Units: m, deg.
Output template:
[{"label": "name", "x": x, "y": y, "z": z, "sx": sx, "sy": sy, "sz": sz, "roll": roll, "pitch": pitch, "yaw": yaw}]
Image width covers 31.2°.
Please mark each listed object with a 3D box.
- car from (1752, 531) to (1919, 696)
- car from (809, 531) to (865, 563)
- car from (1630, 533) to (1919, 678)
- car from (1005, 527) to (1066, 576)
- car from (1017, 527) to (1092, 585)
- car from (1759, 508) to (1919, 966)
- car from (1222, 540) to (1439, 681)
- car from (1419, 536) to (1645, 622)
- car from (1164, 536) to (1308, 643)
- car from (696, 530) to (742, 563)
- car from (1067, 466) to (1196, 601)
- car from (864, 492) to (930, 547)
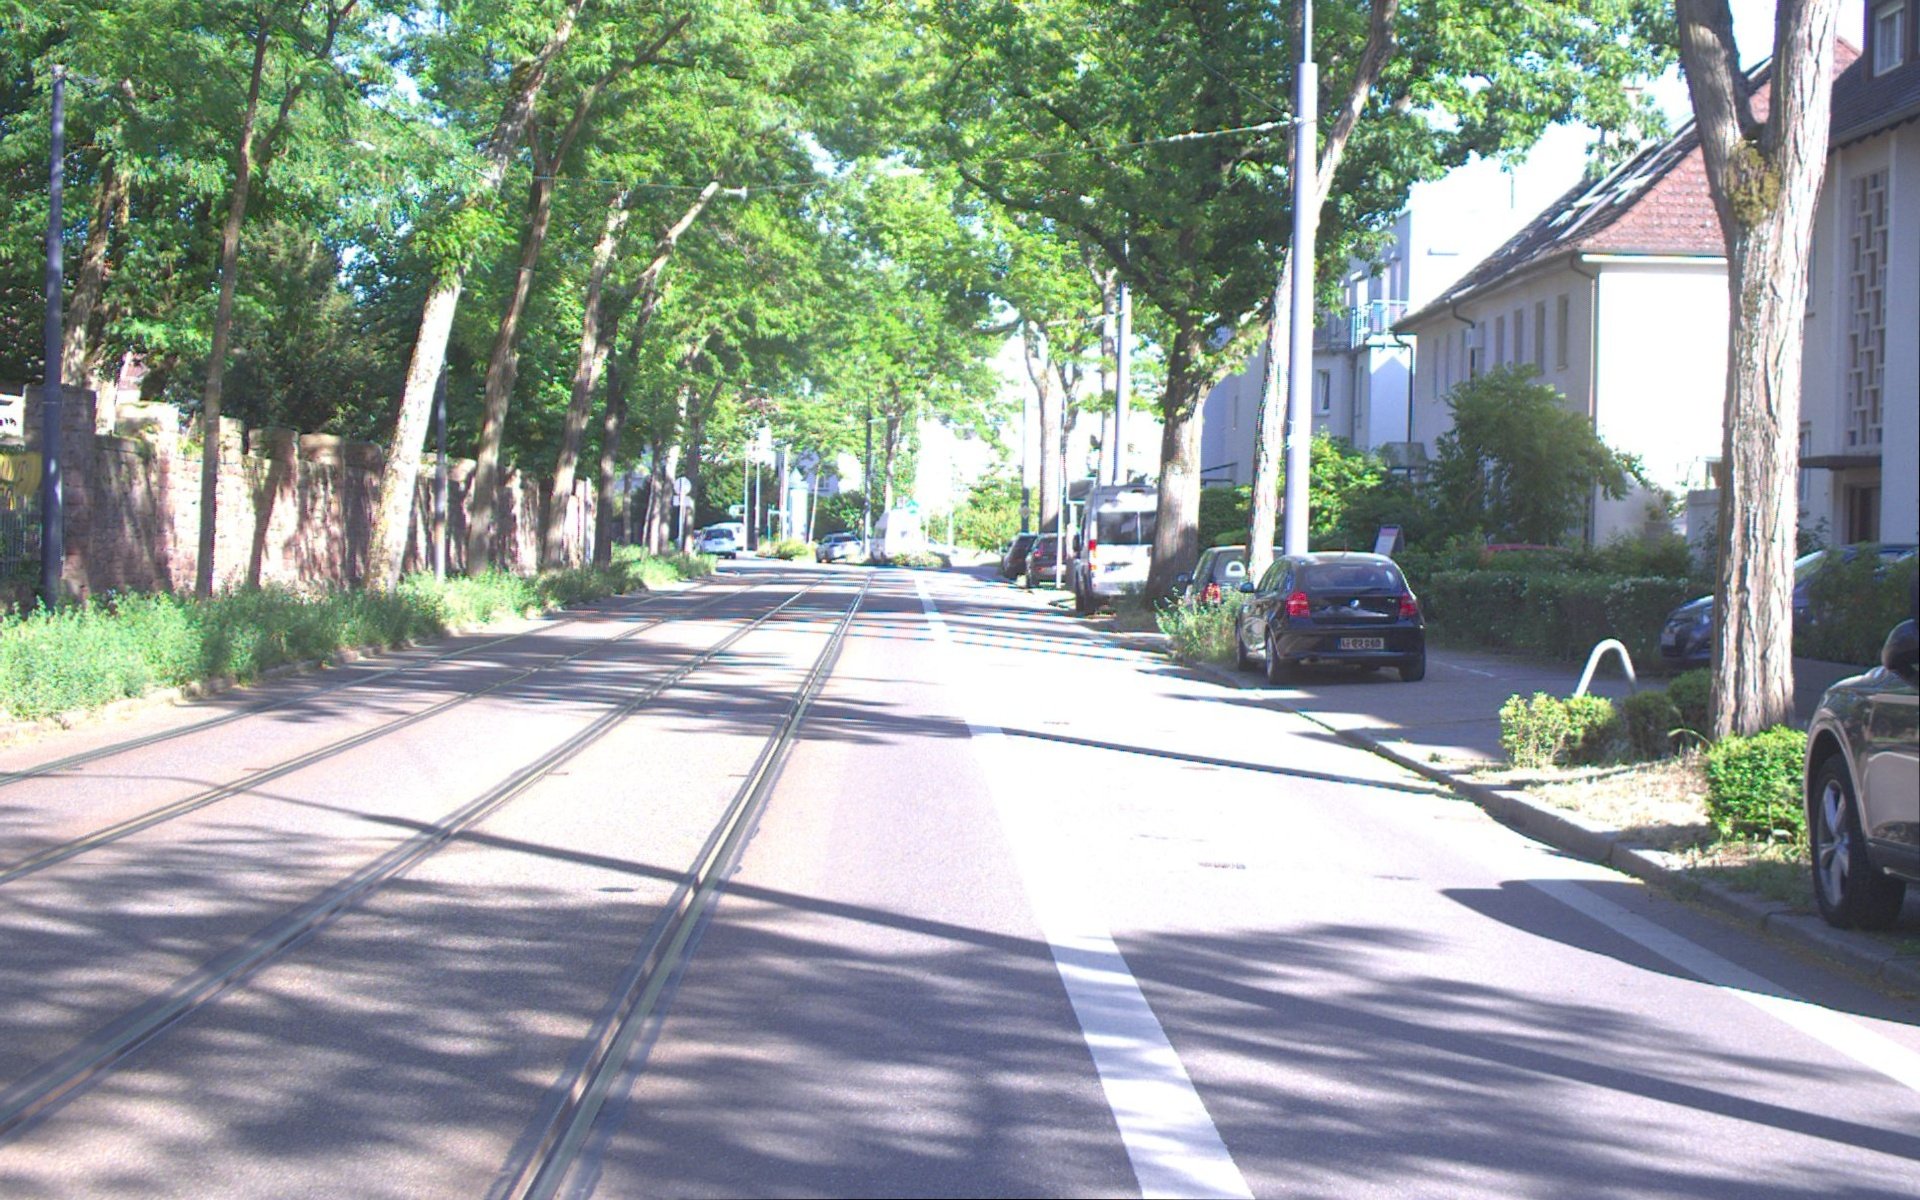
[{"label": "car", "x": 9.910, "y": 0.079, "z": 32.531, "sx": 4.421, "sy": 1.484, "sz": 1.858, "roll": -1, "pitch": 1, "yaw": 2}, {"label": "car", "x": -6.214, "y": -2.676, "z": 173.442, "sx": 2.002, "sy": 1.555, "sz": 4.394, "roll": 1, "pitch": 1, "yaw": -13}, {"label": "car", "x": 9.185, "y": 0.034, "z": 36.430, "sx": 3.737, "sy": 1.484, "sz": 1.740, "roll": 0, "pitch": 1, "yaw": -6}, {"label": "car", "x": 2.660, "y": -1.711, "z": 119.814, "sx": 2.003, "sy": 1.669, "sz": 4.392, "roll": 0, "pitch": 1, "yaw": 3}, {"label": "car", "x": 2.786, "y": -1.326, "z": 102.315, "sx": 2.003, "sy": 1.669, "sz": 4.393, "roll": 0, "pitch": 1, "yaw": -1}, {"label": "car", "x": 4.548, "y": 0.491, "z": 12.685, "sx": 1.993, "sy": 1.698, "sz": 4.478, "roll": -1, "pitch": 1, "yaw": -2}, {"label": "car", "x": 4.152, "y": 0.072, "z": 39.139, "sx": 1.784, "sy": 1.443, "sz": 4.302, "roll": -1, "pitch": 1, "yaw": -3}, {"label": "car", "x": 9.737, "y": -0.373, "z": 58.584, "sx": 3.396, "sy": 1.431, "sz": 1.735, "roll": 0, "pitch": 1, "yaw": -14}, {"label": "car", "x": 3.874, "y": -0.176, "z": 48.711, "sx": 1.627, "sy": 1.393, "sz": 3.646, "roll": -1, "pitch": 1, "yaw": -1}, {"label": "car", "x": -12.622, "y": -2.805, "z": 179.770, "sx": 1.865, "sy": 1.669, "sz": 4.174, "roll": 1, "pitch": 1, "yaw": -11}, {"label": "car", "x": 3.450, "y": -1.370, "z": 70.303, "sx": 2.245, "sy": 2.645, "sz": 5.586, "roll": 0, "pitch": 1, "yaw": -1}, {"label": "car", "x": -2.885, "y": -3.650, "z": 155.833, "sx": 1.993, "sy": 2.449, "sz": 4.510, "roll": 1, "pitch": 1, "yaw": -14}]
